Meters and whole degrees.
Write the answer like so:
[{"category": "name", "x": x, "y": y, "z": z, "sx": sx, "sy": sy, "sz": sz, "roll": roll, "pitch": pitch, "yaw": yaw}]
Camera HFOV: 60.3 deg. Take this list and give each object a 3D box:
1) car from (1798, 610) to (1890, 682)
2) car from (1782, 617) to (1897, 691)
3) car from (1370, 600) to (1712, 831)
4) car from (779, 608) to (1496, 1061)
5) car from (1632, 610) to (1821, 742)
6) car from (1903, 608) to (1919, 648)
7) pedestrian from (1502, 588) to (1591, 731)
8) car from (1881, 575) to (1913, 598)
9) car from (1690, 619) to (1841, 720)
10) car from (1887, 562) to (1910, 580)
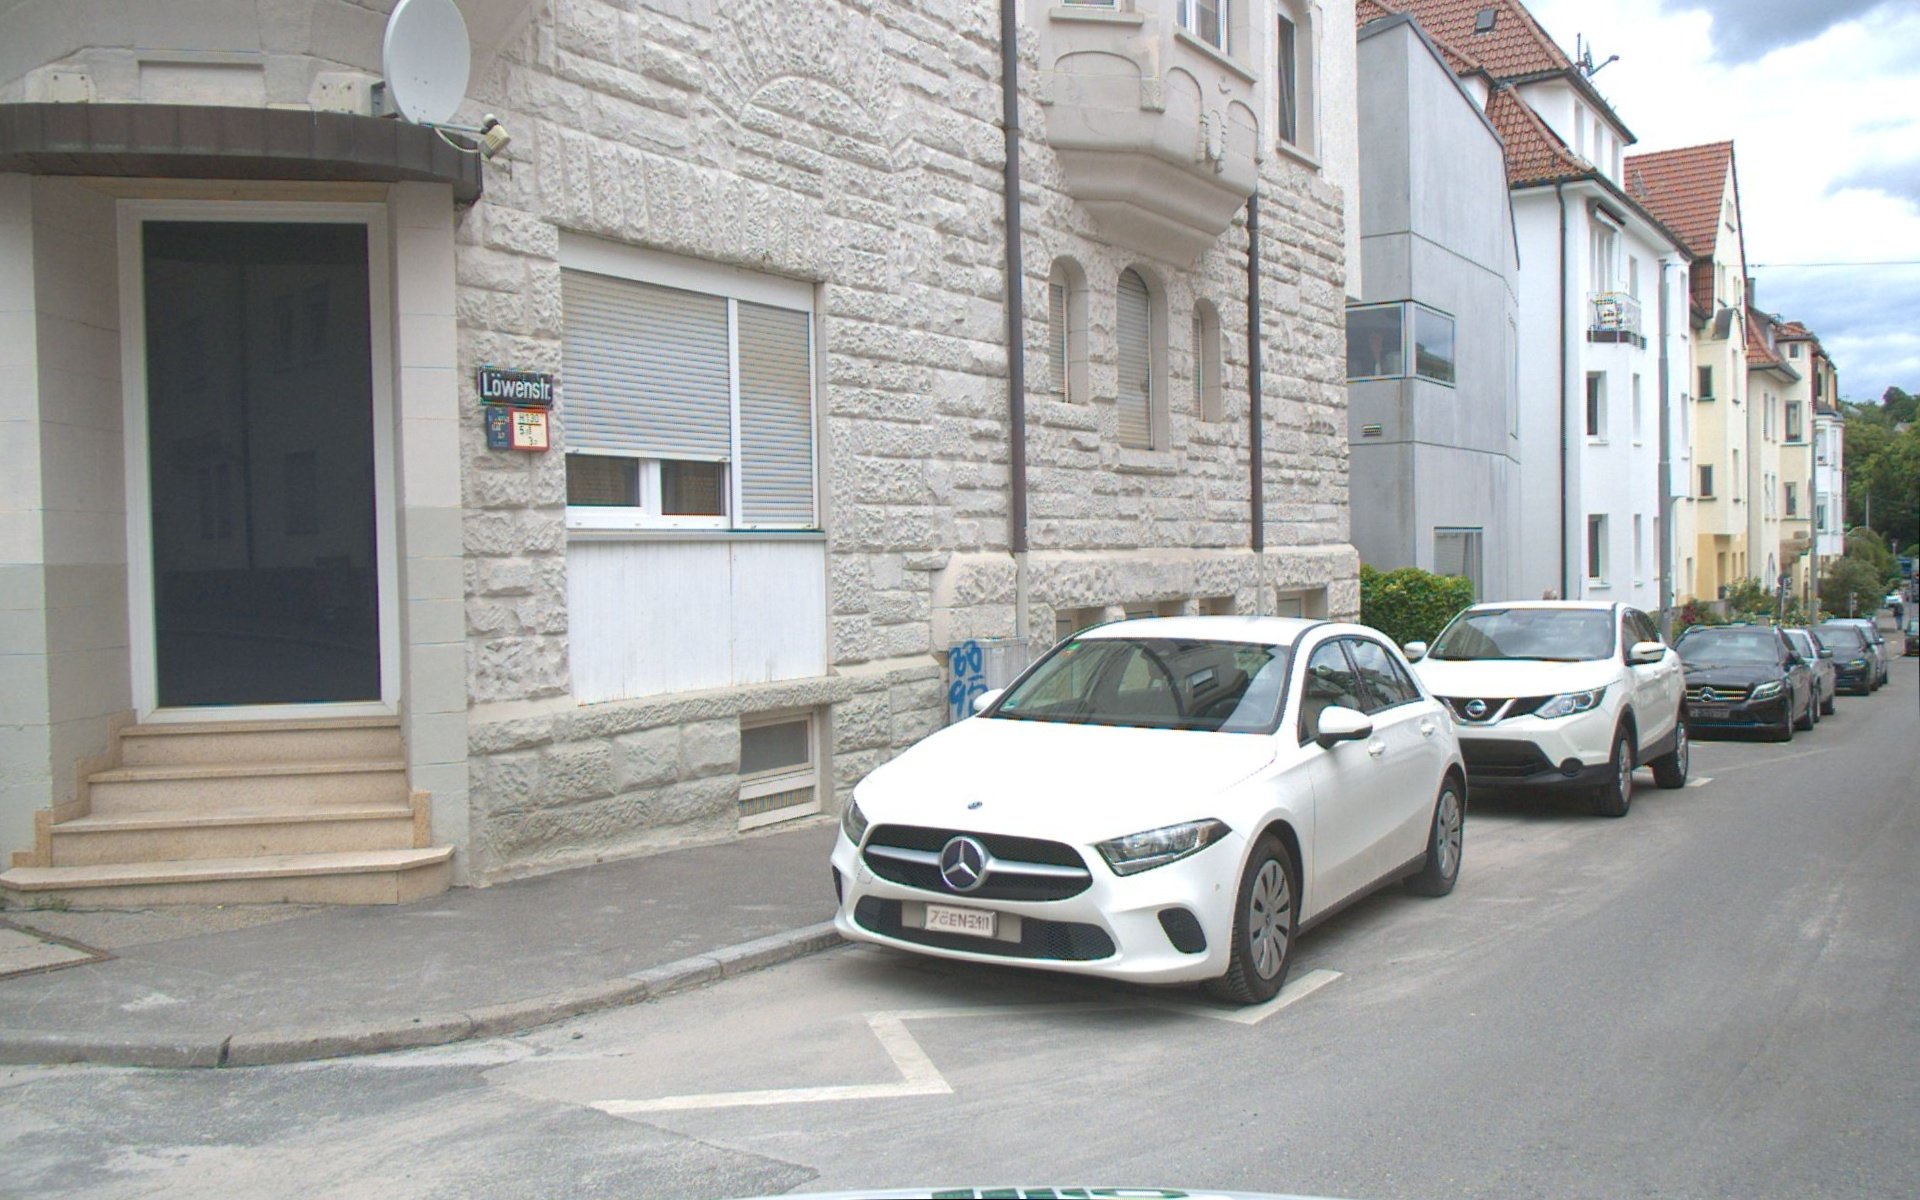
[{"category": "car", "x": 22.013, "y": 1.083, "z": 41.119, "sx": 1.811, "sy": 1.659, "sz": 4.277, "roll": 0, "pitch": 0, "yaw": 31}, {"category": "car", "x": 19.128, "y": 1.135, "z": 35.872, "sx": 1.812, "sy": 1.483, "sz": 4.491, "roll": -1, "pitch": -1, "yaw": 33}, {"category": "car", "x": 4.833, "y": 0.773, "z": 13.369, "sx": 1.811, "sy": 1.542, "sz": 4.231, "roll": 0, "pitch": 0, "yaw": 31}, {"category": "car", "x": 1.113, "y": 0.764, "z": 7.580, "sx": 1.668, "sy": 1.439, "sz": 4.231, "roll": 0, "pitch": 0, "yaw": 31}, {"category": "car", "x": 10.398, "y": 0.924, "z": 22.253, "sx": 1.861, "sy": 1.554, "sz": 4.461, "roll": 0, "pitch": 0, "yaw": 31}, {"category": "car", "x": 45.444, "y": 1.315, "z": 77.869, "sx": 1.810, "sy": 1.847, "sz": 4.535, "roll": -1, "pitch": -1, "yaw": 30}, {"category": "pedestrian", "x": 8.055, "y": 0.802, "z": 22.738, "sx": 0.837, "sy": 1.917, "sz": 0.809, "roll": 0, "pitch": -1, "yaw": -34}, {"category": "car", "x": 76.122, "y": -1.069, "z": 134.449, "sx": 1.637, "sy": 1.685, "sz": 3.865, "roll": -1, "pitch": 2, "yaw": 20}, {"category": "car", "x": 13.315, "y": 1.055, "z": 27.170, "sx": 1.811, "sy": 1.437, "sz": 5.050, "roll": 0, "pitch": 0, "yaw": 31}, {"category": "car", "x": 92.835, "y": -2.916, "z": 163.701, "sx": 1.601, "sy": 1.564, "sz": 3.530, "roll": 1, "pitch": 4, "yaw": 24}]
